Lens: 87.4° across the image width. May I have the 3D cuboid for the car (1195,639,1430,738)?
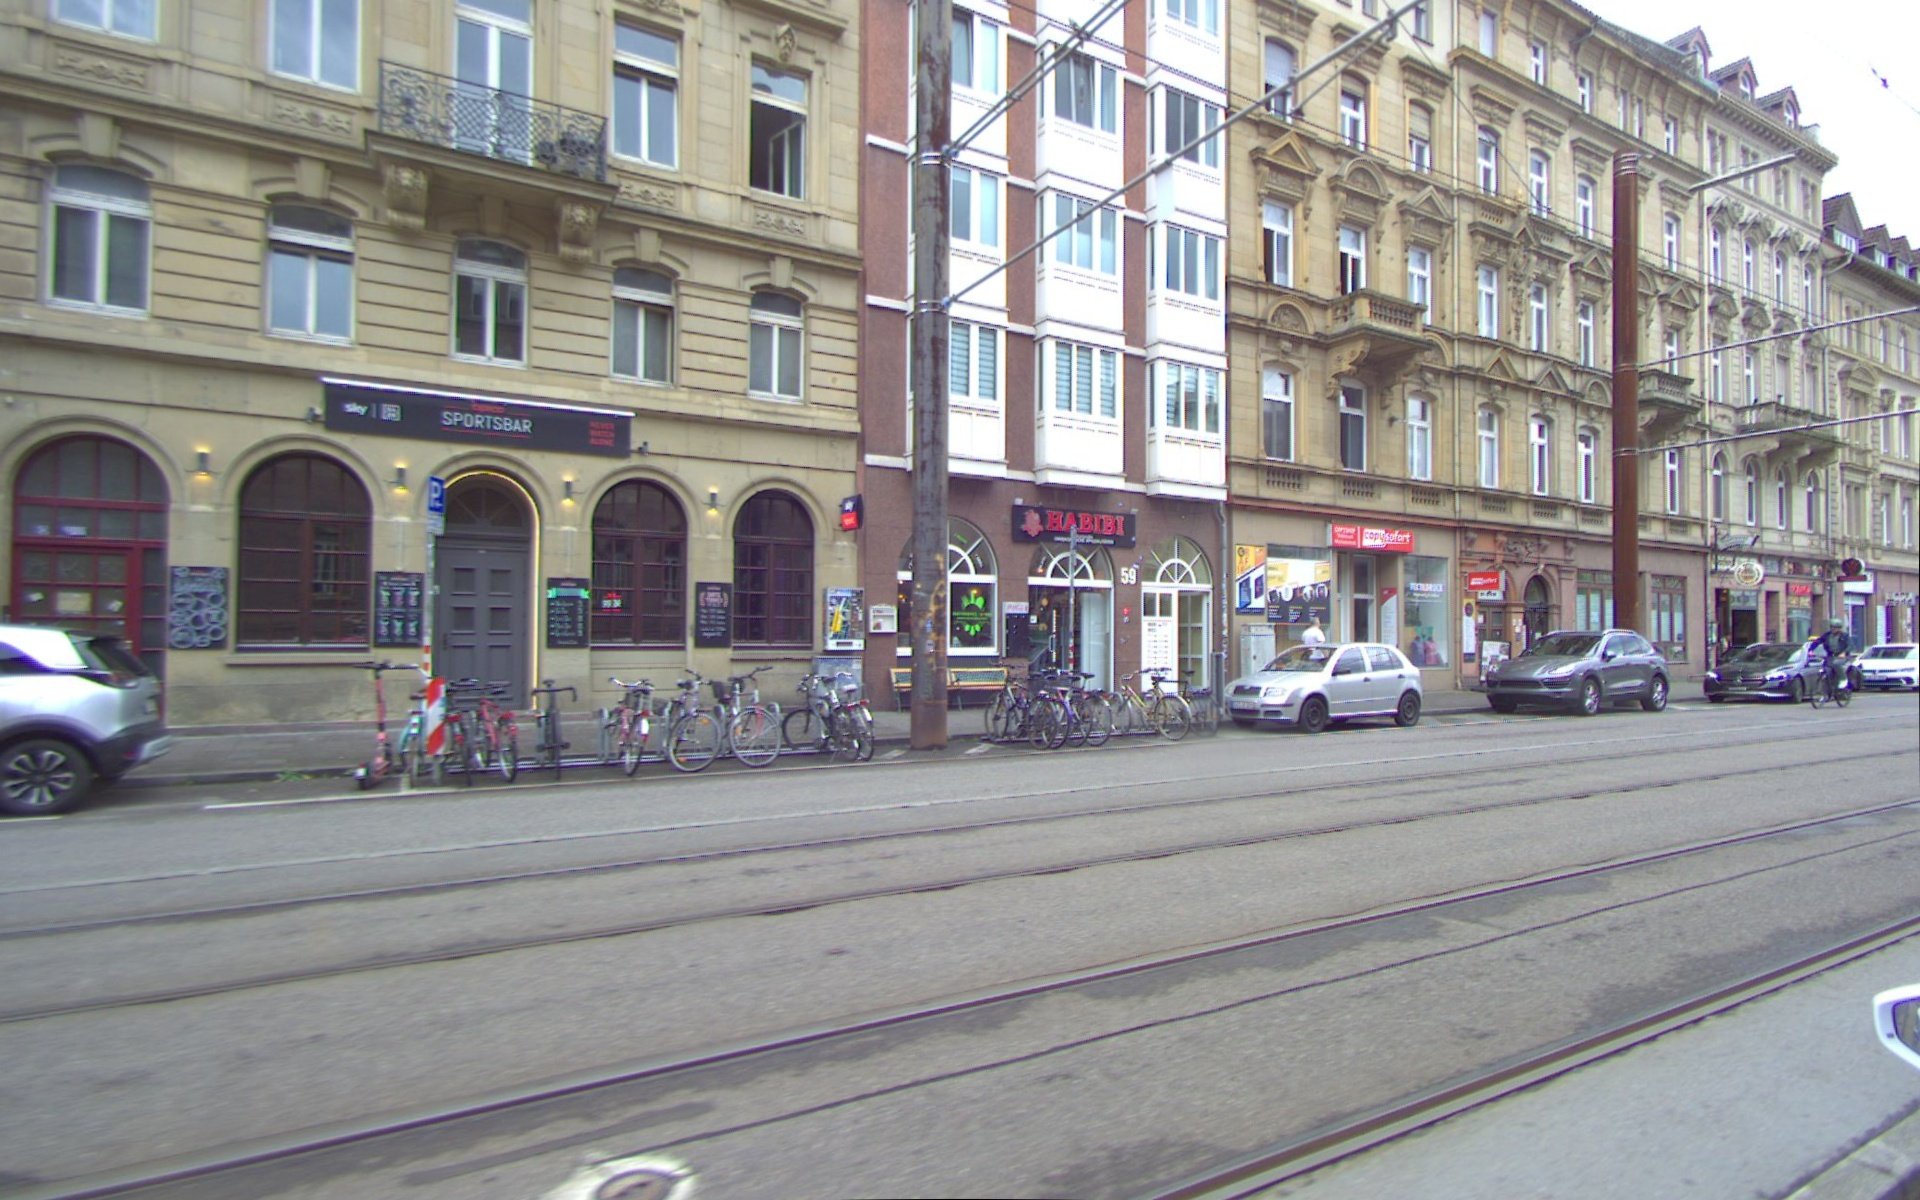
[{"bbox_3d":[6.075,1.436,17.226,3.876,1.508,1.735,1,-3,-31],"label":"car"}]

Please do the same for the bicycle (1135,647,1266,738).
[{"bbox_3d":[3.774,1.446,16.004,0.658,1.346,2.273,1,-4,-29],"label":"bicycle"}]

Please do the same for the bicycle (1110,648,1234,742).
[{"bbox_3d":[3.246,1.445,15.634,0.515,1.346,2.273,1,-4,-29],"label":"bicycle"}]

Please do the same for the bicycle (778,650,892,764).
[{"bbox_3d":[-1.666,1.340,13.012,0.658,1.346,2.273,1,-4,-29],"label":"bicycle"}]

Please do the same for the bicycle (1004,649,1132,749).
[{"bbox_3d":[1.523,1.406,14.703,0.658,1.346,2.273,1,-4,-29],"label":"bicycle"}]

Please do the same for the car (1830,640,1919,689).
[{"bbox_3d":[28.728,1.979,30.906,4.119,1.441,1.762,2,-5,-32],"label":"car"}]

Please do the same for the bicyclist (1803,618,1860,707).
[{"bbox_3d":[19.301,1.369,22.237,1.016,1.908,0.642,2,-1,-29],"label":"bicyclist"}]

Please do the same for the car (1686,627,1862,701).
[{"bbox_3d":[20.785,1.624,25.595,4.996,1.711,1.910,2,-5,-32],"label":"car"}]

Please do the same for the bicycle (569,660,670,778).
[{"bbox_3d":[-3.967,1.311,11.575,0.696,1.219,2.273,1,-4,-29],"label":"bicycle"}]

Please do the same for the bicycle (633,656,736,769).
[{"bbox_3d":[-3.331,1.291,12.009,0.658,1.219,2.273,1,-4,-29],"label":"bicycle"}]

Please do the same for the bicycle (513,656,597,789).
[{"bbox_3d":[-4.488,1.276,11.048,0.534,1.219,2.272,3,-2,-29],"label":"bicycle"}]

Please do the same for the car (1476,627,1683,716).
[{"bbox_3d":[13.263,1.464,21.405,4.978,1.712,1.803,1,-3,-33],"label":"car"}]

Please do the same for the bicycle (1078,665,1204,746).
[{"bbox_3d":[2.716,1.566,15.359,0.612,1.055,2.272,1,-2,-29],"label":"bicycle"}]

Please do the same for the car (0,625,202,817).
[{"bbox_3d":[-9.075,0.997,8.372,4.177,1.553,1.735,1,-3,-31],"label":"car"}]

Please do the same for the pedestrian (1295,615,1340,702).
[{"bbox_3d":[7.650,1.241,21.526,0.769,1.806,0.655,1,-1,7],"label":"pedestrian"}]

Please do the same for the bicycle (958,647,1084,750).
[{"bbox_3d":[0.814,1.366,14.294,0.658,1.346,2.273,1,-4,-29],"label":"bicycle"}]

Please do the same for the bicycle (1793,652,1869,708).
[{"bbox_3d":[19.307,1.755,22.255,2.020,1.189,0.582,2,-4,-29],"label":"bicycle"}]

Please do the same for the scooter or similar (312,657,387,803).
[{"bbox_3d":[-6.175,1.244,10.224,0.541,1.219,2.272,1,-1,-29],"label":"scooter or similar"}]

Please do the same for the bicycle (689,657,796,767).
[{"bbox_3d":[-2.726,1.328,12.372,0.658,1.219,2.273,1,-4,-29],"label":"bicycle"}]

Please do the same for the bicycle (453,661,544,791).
[{"bbox_3d":[-4.958,1.278,10.720,0.696,1.219,2.273,1,-4,-29],"label":"bicycle"}]

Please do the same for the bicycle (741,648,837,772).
[{"bbox_3d":[-2.199,1.320,12.703,0.443,1.311,2.272,1,0,-29],"label":"bicycle"}]

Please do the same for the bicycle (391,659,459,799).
[{"bbox_3d":[-5.608,1.271,10.496,0.541,1.219,2.272,1,-2,-29],"label":"bicycle"}]

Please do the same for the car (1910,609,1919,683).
[{"bbox_3d":[35.394,1.574,34.882,5.602,2.519,2.043,2,-4,-32],"label":"car"}]
